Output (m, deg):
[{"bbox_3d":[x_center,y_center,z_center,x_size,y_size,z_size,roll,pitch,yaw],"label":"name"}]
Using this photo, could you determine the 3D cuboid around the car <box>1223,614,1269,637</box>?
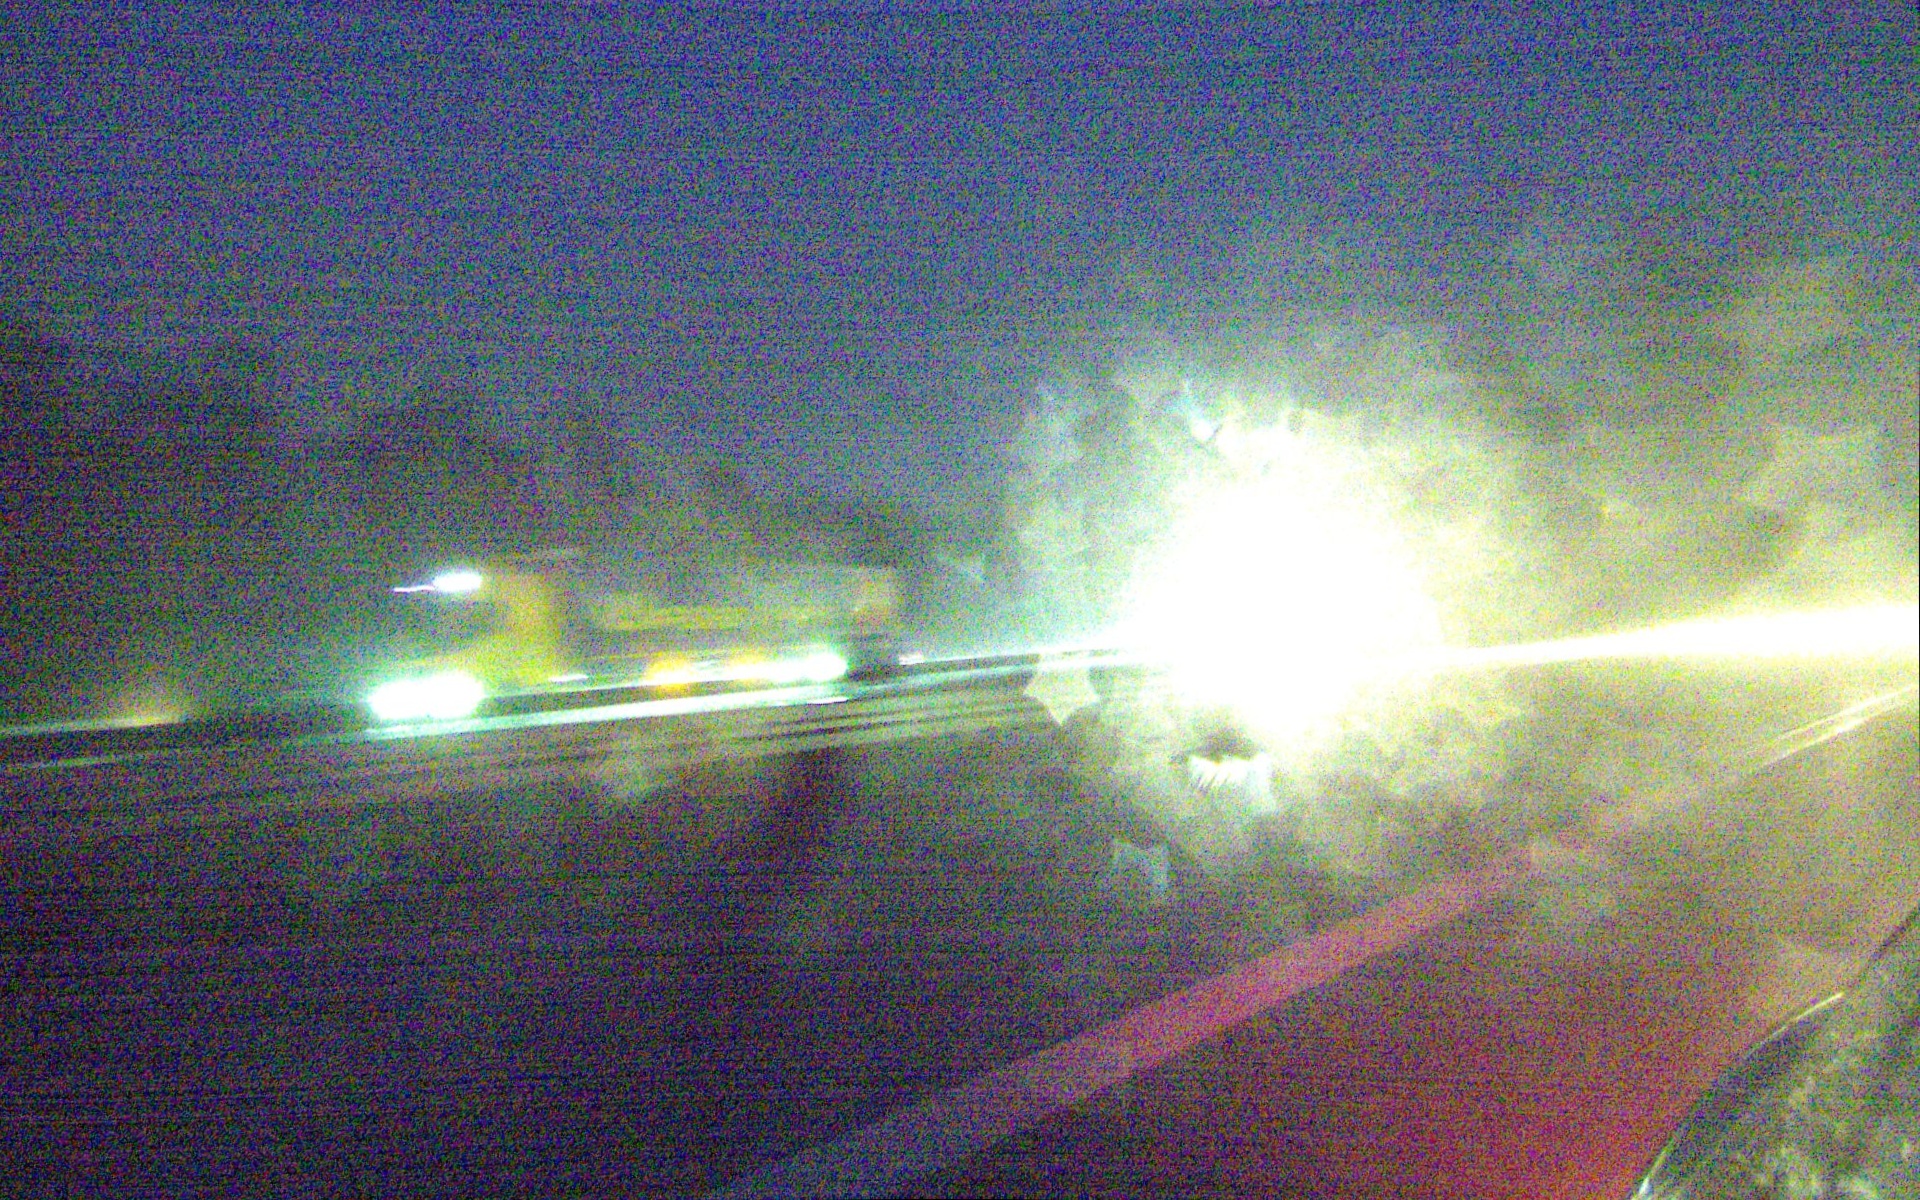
[{"bbox_3d":[17.534,1.560,61.921,1.699,1.311,3.945,1,-1,32],"label":"car"}]

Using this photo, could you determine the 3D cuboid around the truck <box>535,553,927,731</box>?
[{"bbox_3d":[-5.992,0.750,30.808,2.747,4.274,13.670,1,2,32],"label":"truck"}]

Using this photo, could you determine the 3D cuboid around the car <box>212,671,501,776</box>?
[{"bbox_3d":[-10.216,2.019,17.439,1.700,1.311,3.945,1,-1,32],"label":"car"}]

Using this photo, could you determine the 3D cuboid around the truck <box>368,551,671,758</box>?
[{"bbox_3d":[-10.227,1.001,24.141,2.747,4.274,6.123,1,2,33],"label":"truck"}]

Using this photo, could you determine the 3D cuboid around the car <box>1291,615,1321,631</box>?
[{"bbox_3d":[29.522,1.974,86.240,1.699,1.311,3.947,1,-1,31],"label":"car"}]

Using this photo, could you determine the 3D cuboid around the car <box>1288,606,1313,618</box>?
[{"bbox_3d":[38.422,1.336,114.087,1.701,1.311,3.942,1,-1,33],"label":"car"}]

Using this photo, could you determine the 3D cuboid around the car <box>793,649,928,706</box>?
[{"bbox_3d":[-2.722,2.115,28.429,1.700,1.311,3.943,1,-1,33],"label":"car"}]
